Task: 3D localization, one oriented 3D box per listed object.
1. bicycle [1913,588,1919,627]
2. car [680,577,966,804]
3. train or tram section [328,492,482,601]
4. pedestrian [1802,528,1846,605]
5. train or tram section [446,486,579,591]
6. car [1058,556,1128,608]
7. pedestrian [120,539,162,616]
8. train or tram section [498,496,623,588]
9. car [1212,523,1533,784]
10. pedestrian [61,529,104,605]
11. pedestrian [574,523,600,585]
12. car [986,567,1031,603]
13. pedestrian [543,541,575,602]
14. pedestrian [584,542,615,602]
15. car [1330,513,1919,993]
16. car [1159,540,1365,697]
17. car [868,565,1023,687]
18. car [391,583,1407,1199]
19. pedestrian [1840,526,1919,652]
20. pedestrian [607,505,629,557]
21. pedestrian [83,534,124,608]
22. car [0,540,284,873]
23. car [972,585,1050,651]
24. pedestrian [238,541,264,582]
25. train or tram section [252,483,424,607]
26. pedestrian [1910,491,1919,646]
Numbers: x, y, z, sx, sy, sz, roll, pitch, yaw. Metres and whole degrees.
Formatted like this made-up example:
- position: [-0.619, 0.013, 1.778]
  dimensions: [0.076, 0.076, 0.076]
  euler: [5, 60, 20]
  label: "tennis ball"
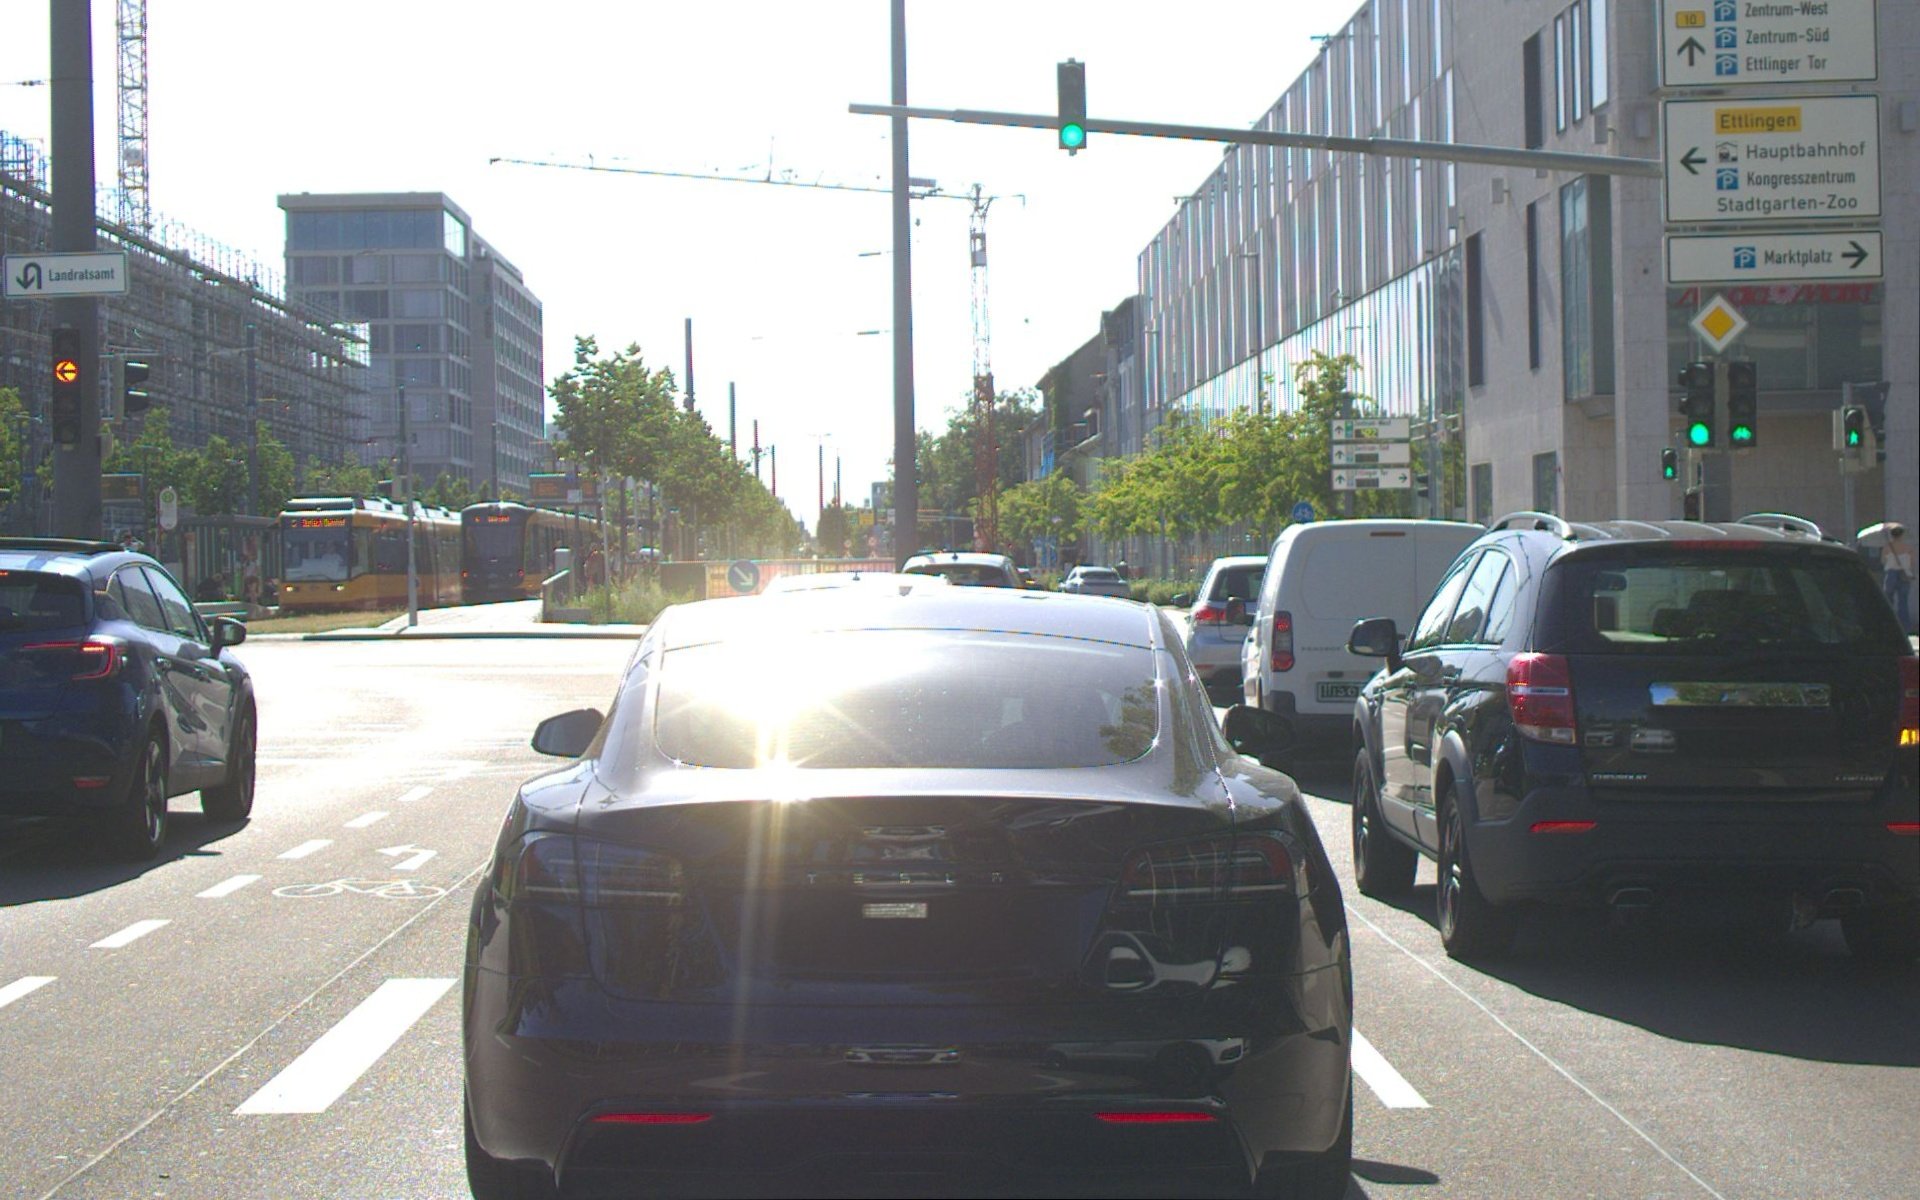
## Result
- position: [17.682, 0.112, 59.305]
  dimensions: [2.193, 0.669, 1.072]
  euler: [-1, 1, 3]
  label: "bicycle"
- position: [-0.852, 0.535, 22.793]
  dimensions: [1.716, 1.315, 4.000]
  euler: [0, 1, -1]
  label: "car"
- position: [-18.155, -1.662, 113.547]
  dimensions: [2.847, 3.310, 15.967]
  euler: [1, 0, -2]
  label: "train or tram section"
- position: [18.158, -0.711, 72.256]
  dimensions: [0.747, 1.602, 0.557]
  euler: [-1, 1, -2]
  label: "pedestrian"
- position: [-14.975, -2.028, 116.282]
  dimensions: [2.870, 3.268, 15.186]
  euler: [1, 1, -2]
  label: "train or tram section"
- position: [4.034, -0.570, 105.046]
  dimensions: [1.934, 1.536, 4.000]
  euler: [0, 1, -1]
  label: "car"
- position: [-19.479, -0.545, 81.786]
  dimensions: [0.800, 1.817, 0.976]
  euler: [-1, 1, -4]
  label: "pedestrian"
- position: [-15.483, -2.243, 134.936]
  dimensions: [2.870, 3.268, 22.145]
  euler: [1, 1, -2]
  label: "train or tram section"
- position: [2.908, 0.320, 25.024]
  dimensions: [1.784, 1.728, 4.163]
  euler: [0, 1, -1]
  label: "car"
- position: [-21.083, -0.801, 82.613]
  dimensions: [0.800, 1.817, 0.976]
  euler: [-1, 1, -4]
  label: "pedestrian"
- position: [-10.779, -1.341, 99.306]
  dimensions: [0.703, 1.769, 0.959]
  euler: [1, 1, -4]
  label: "pedestrian"
- position: [2.157, -0.677, 154.015]
  dimensions: [1.934, 1.536, 4.000]
  euler: [0, 1, -1]
  label: "car"
- position: [-11.921, -0.853, 102.190]
  dimensions: [0.874, 1.769, 1.189]
  euler: [1, 1, -4]
  label: "pedestrian"
- position: [-9.835, -0.771, 93.785]
  dimensions: [0.741, 1.623, 0.861]
  euler: [-1, 0, 0]
  label: "pedestrian"
- position: [2.692, 0.505, 14.424]
  dimensions: [1.784, 1.693, 4.413]
  euler: [0, 1, 0]
  label: "car"
- position: [3.103, 0.148, 35.997]
  dimensions: [1.784, 1.540, 4.039]
  euler: [0, 1, 0]
  label: "car"
- position: [-0.181, 0.265, 40.260]
  dimensions: [1.716, 1.315, 4.000]
  euler: [0, 1, -1]
  label: "car"
- position: [-0.127, 0.688, 8.976]
  dimensions: [1.999, 1.429, 4.413]
  euler: [0, 1, 0]
  label: "car"
- position: [13.723, -0.167, 50.734]
  dimensions: [0.967, 1.795, 1.523]
  euler: [-3, 1, -1]
  label: "pedestrian"
- position: [-12.003, -2.431, 120.581]
  dimensions: [0.671, 1.804, 1.075]
  euler: [-1, 0, -2]
  label: "pedestrian"
- position: [-21.071, -0.717, 84.576]
  dimensions: [0.800, 1.817, 0.976]
  euler: [-1, 1, -4]
  label: "pedestrian"
- position: [-4.879, 0.474, 18.423]
  dimensions: [1.770, 1.583, 4.088]
  euler: [1, 1, -1]
  label: "car"
- position: [1.180, 0.404, 80.798]
  dimensions: [1.716, 1.427, 4.000]
  euler: [0, 1, -1]
  label: "car"
- position: [-20.868, -1.131, 101.211]
  dimensions: [0.671, 1.222, 0.506]
  euler: [1, 0, -4]
  label: "pedestrian"
- position: [-17.744, -1.568, 99.035]
  dimensions: [2.870, 3.298, 13.074]
  euler: [1, 1, -2]
  label: "train or tram section"
- position: [12.928, -0.407, 44.240]
  dimensions: [0.946, 2.007, 1.080]
  euler: [-1, 1, -12]
  label: "pedestrian"
